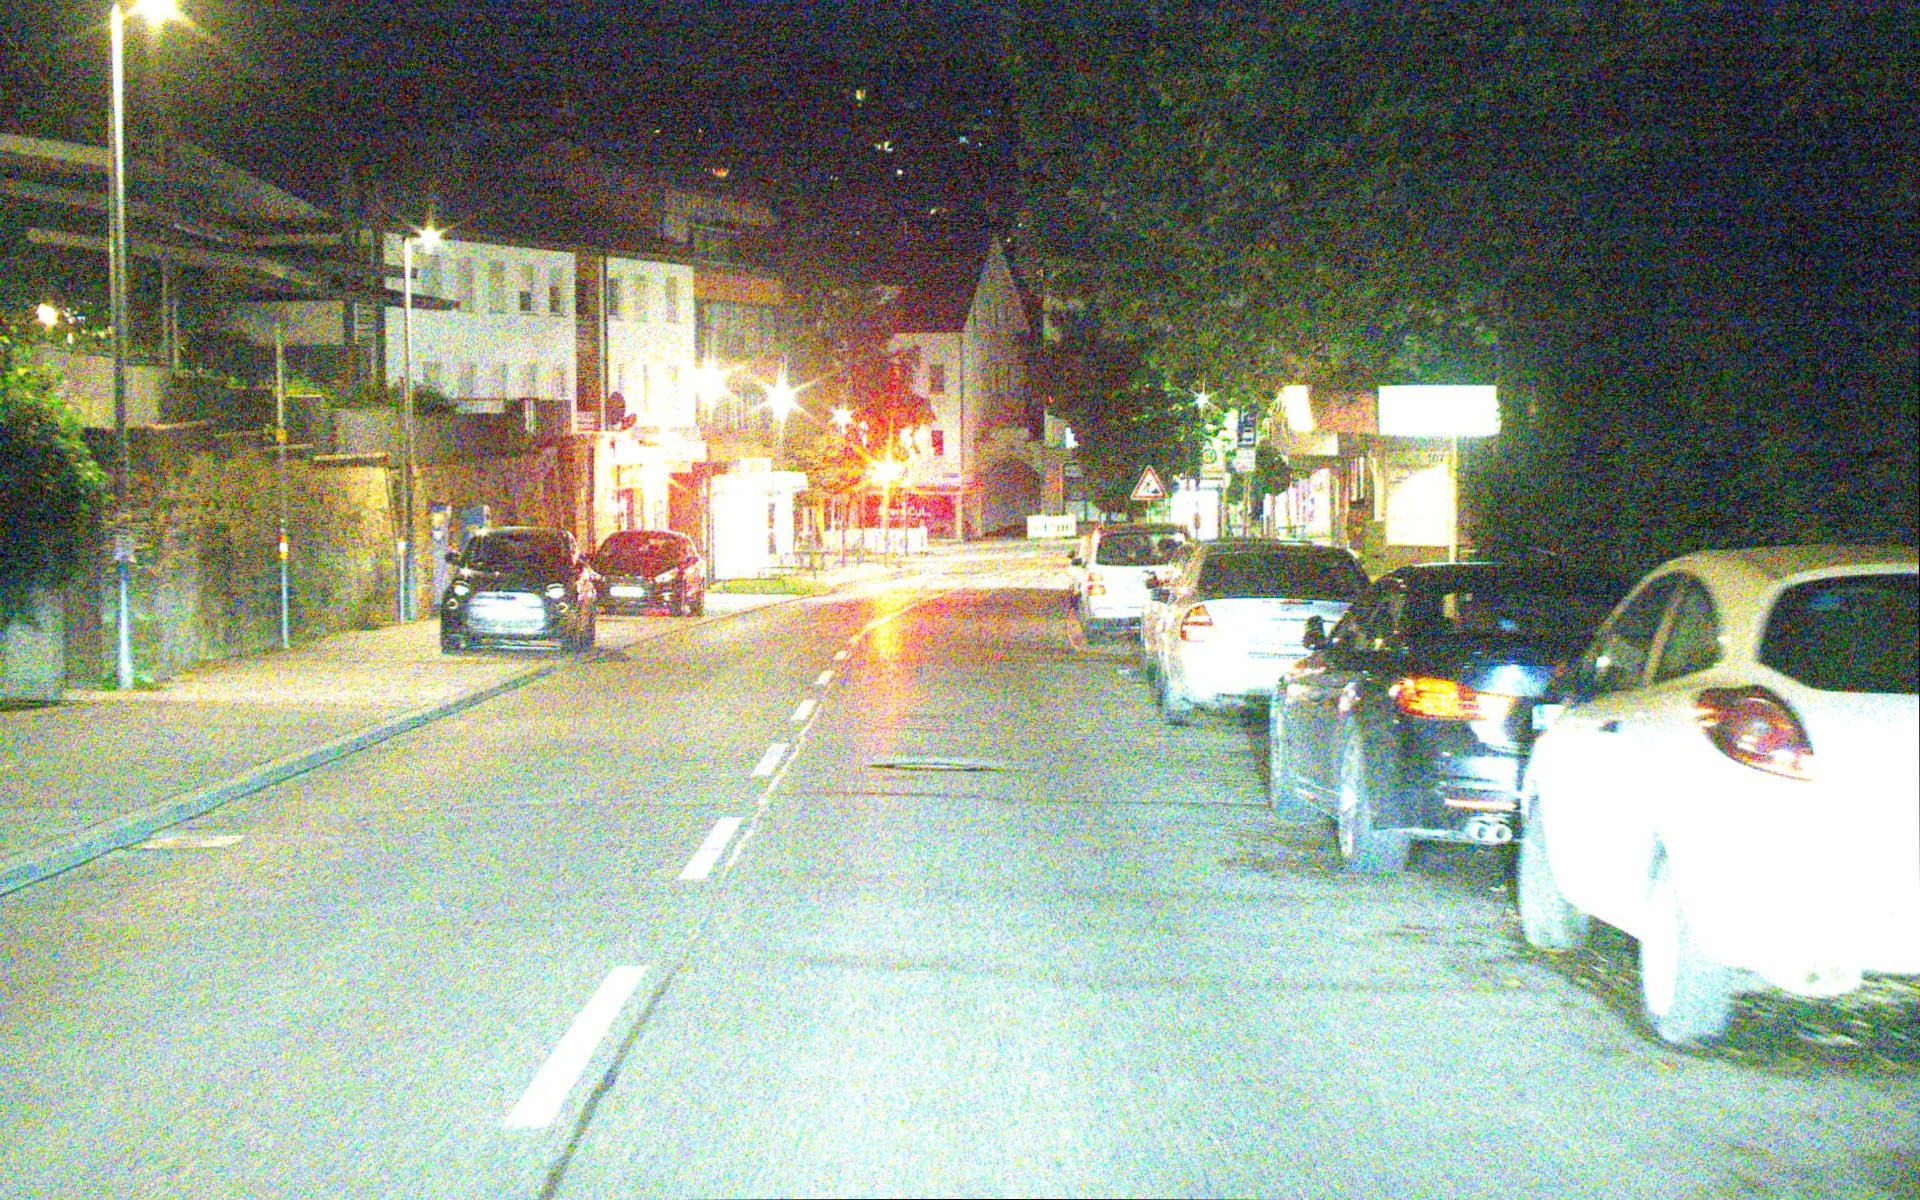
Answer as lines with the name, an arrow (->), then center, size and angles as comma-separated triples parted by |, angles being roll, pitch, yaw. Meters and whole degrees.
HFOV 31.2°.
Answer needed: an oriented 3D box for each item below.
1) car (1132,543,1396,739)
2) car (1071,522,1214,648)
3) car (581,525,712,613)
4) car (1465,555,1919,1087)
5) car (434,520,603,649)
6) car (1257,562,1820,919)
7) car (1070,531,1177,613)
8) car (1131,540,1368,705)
car -> 2.377, 0.270, 27.852 | 1.676, 1.442, 4.612 | 0, 1, -1
car -> 2.512, -0.237, 48.186 | 1.787, 1.636, 4.380 | -2, 1, 1
car -> -5.454, -0.568, 60.212 | 1.692, 1.432, 4.128 | 2, 1, 3
car -> 2.838, 0.612, 11.575 | 1.638, 1.461, 3.776 | 2, 1, -1
car -> -5.509, -0.189, 43.239 | 1.691, 1.518, 3.691 | 1, 0, -1
car -> 2.562, 0.553, 16.304 | 1.762, 1.411, 4.441 | 1, 1, -2
car -> 3.026, -0.544, 64.393 | 1.857, 1.437, 4.594 | -1, 1, 2
car -> 2.713, 0.166, 33.122 | 1.780, 1.432, 4.290 | 1, 1, -1
